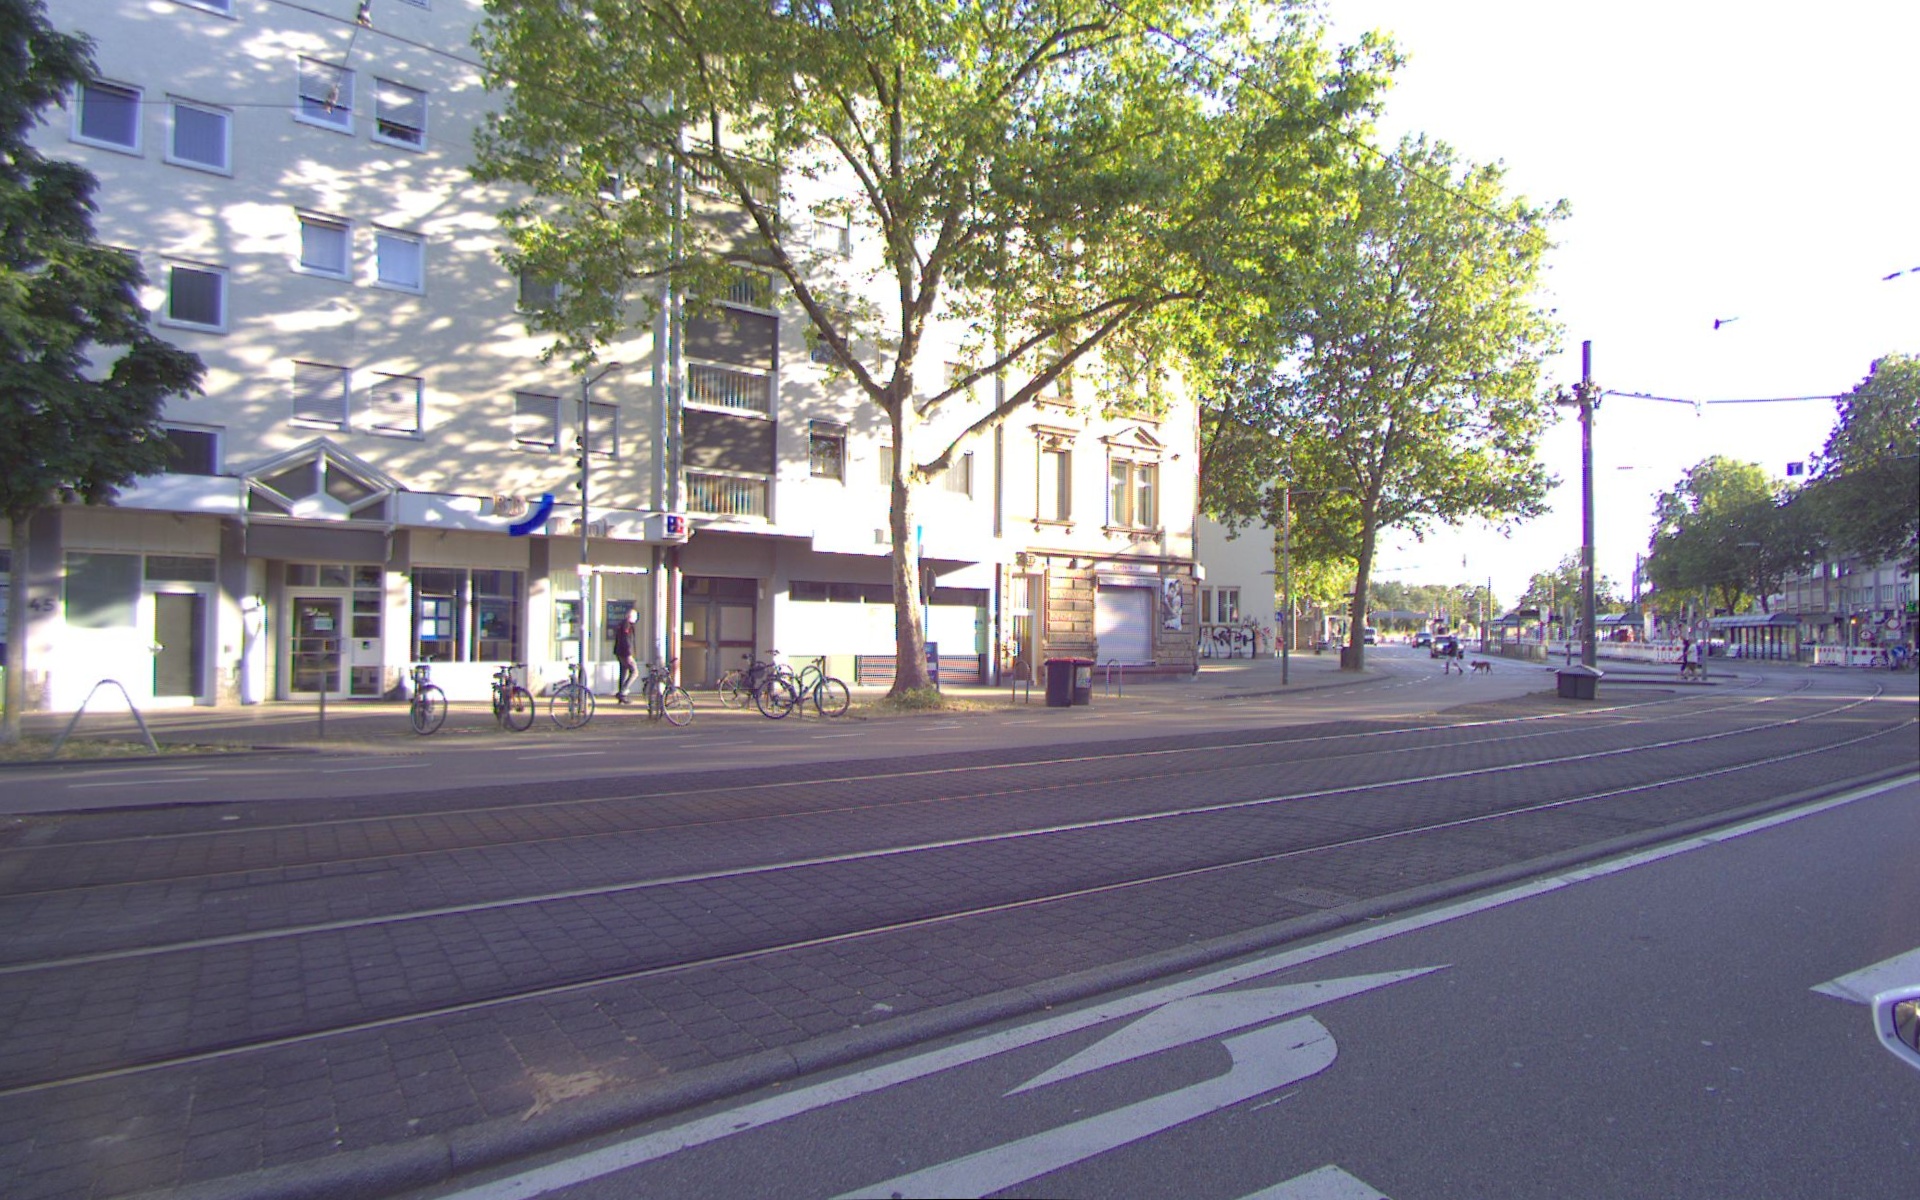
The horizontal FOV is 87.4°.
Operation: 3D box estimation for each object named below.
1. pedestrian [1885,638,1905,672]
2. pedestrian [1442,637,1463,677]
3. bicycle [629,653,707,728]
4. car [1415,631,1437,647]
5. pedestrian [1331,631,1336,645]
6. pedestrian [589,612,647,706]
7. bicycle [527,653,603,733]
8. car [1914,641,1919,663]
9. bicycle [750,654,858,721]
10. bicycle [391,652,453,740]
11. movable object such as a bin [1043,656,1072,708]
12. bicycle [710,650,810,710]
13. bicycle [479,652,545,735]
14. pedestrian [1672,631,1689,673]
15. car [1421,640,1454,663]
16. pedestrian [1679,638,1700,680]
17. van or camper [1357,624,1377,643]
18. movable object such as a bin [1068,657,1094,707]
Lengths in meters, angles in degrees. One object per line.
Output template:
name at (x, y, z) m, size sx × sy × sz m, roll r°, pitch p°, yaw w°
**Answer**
pedestrian at (48.979, 2.870, 52.630) m, size 0.396 × 1.748 × 0.714 m, roll 2°, pitch -2°, yaw -39°
pedestrian at (21.792, 2.514, 44.458) m, size 0.663 × 1.733 × 0.431 m, roll 2°, pitch 0°, yaw 2°
bicycle at (-4.989, 1.502, 17.107) m, size 0.646 × 1.139 × 1.880 m, roll 2°, pitch -1°, yaw -36°
car at (49.485, 4.158, 106.739) m, size 1.855 × 1.606 × 4.206 m, roll 0°, pitch -2°, yaw 22°
pedestrian at (42.737, 4.329, 114.964) m, size 0.507 × 1.524 × 0.558 m, roll 0°, pitch -2°, yaw 23°
pedestrian at (-6.846, 1.172, 20.083) m, size 0.959 × 1.811 × 0.615 m, roll 2°, pitch 0°, yaw -31°
bicycle at (-6.348, 1.450, 16.086) m, size 0.646 × 1.139 × 1.880 m, roll 2°, pitch -1°, yaw -36°
car at (64.514, 3.402, 65.857) m, size 1.635 × 1.488 × 3.412 m, roll -3°, pitch -3°, yaw 22°
bicycle at (-2.818, 1.569, 18.227) m, size 1.891 × 1.139 × 0.505 m, roll 2°, pitch -1°, yaw -34°
bicycle at (-7.978, 1.380, 14.866) m, size 0.529 × 1.139 × 1.880 m, roll 2°, pitch -1°, yaw -36°
movable object such as a bin at (2.160, 1.809, 22.228) m, size 0.634 × 1.108 × 0.546 m, roll 0°, pitch -2°, yaw 5°
bicycle at (-3.965, 1.578, 20.023) m, size 1.891 × 1.139 × 0.505 m, roll 2°, pitch -1°, yaw -34°
bicycle at (-6.986, 1.421, 15.613) m, size 0.529 × 1.139 × 1.880 m, roll 2°, pitch -1°, yaw -36°
pedestrian at (26.671, 1.929, 37.183) m, size 0.513 × 1.524 × 0.405 m, roll 2°, pitch -2°, yaw -39°
car at (32.106, 3.439, 67.650) m, size 1.856 × 1.492 × 4.205 m, roll 0°, pitch -2°, yaw 24°
pedestrian at (26.512, 2.131, 36.521) m, size 0.589 × 1.524 × 0.515 m, roll 2°, pitch -2°, yaw -44°
van or camper at (50.970, 4.185, 125.886) m, size 2.132 × 2.349 × 5.104 m, roll 0°, pitch -2°, yaw 21°
movable object such as a bin at (2.751, 1.850, 22.844) m, size 0.562 × 1.108 × 0.477 m, roll 0°, pitch -2°, yaw 5°
